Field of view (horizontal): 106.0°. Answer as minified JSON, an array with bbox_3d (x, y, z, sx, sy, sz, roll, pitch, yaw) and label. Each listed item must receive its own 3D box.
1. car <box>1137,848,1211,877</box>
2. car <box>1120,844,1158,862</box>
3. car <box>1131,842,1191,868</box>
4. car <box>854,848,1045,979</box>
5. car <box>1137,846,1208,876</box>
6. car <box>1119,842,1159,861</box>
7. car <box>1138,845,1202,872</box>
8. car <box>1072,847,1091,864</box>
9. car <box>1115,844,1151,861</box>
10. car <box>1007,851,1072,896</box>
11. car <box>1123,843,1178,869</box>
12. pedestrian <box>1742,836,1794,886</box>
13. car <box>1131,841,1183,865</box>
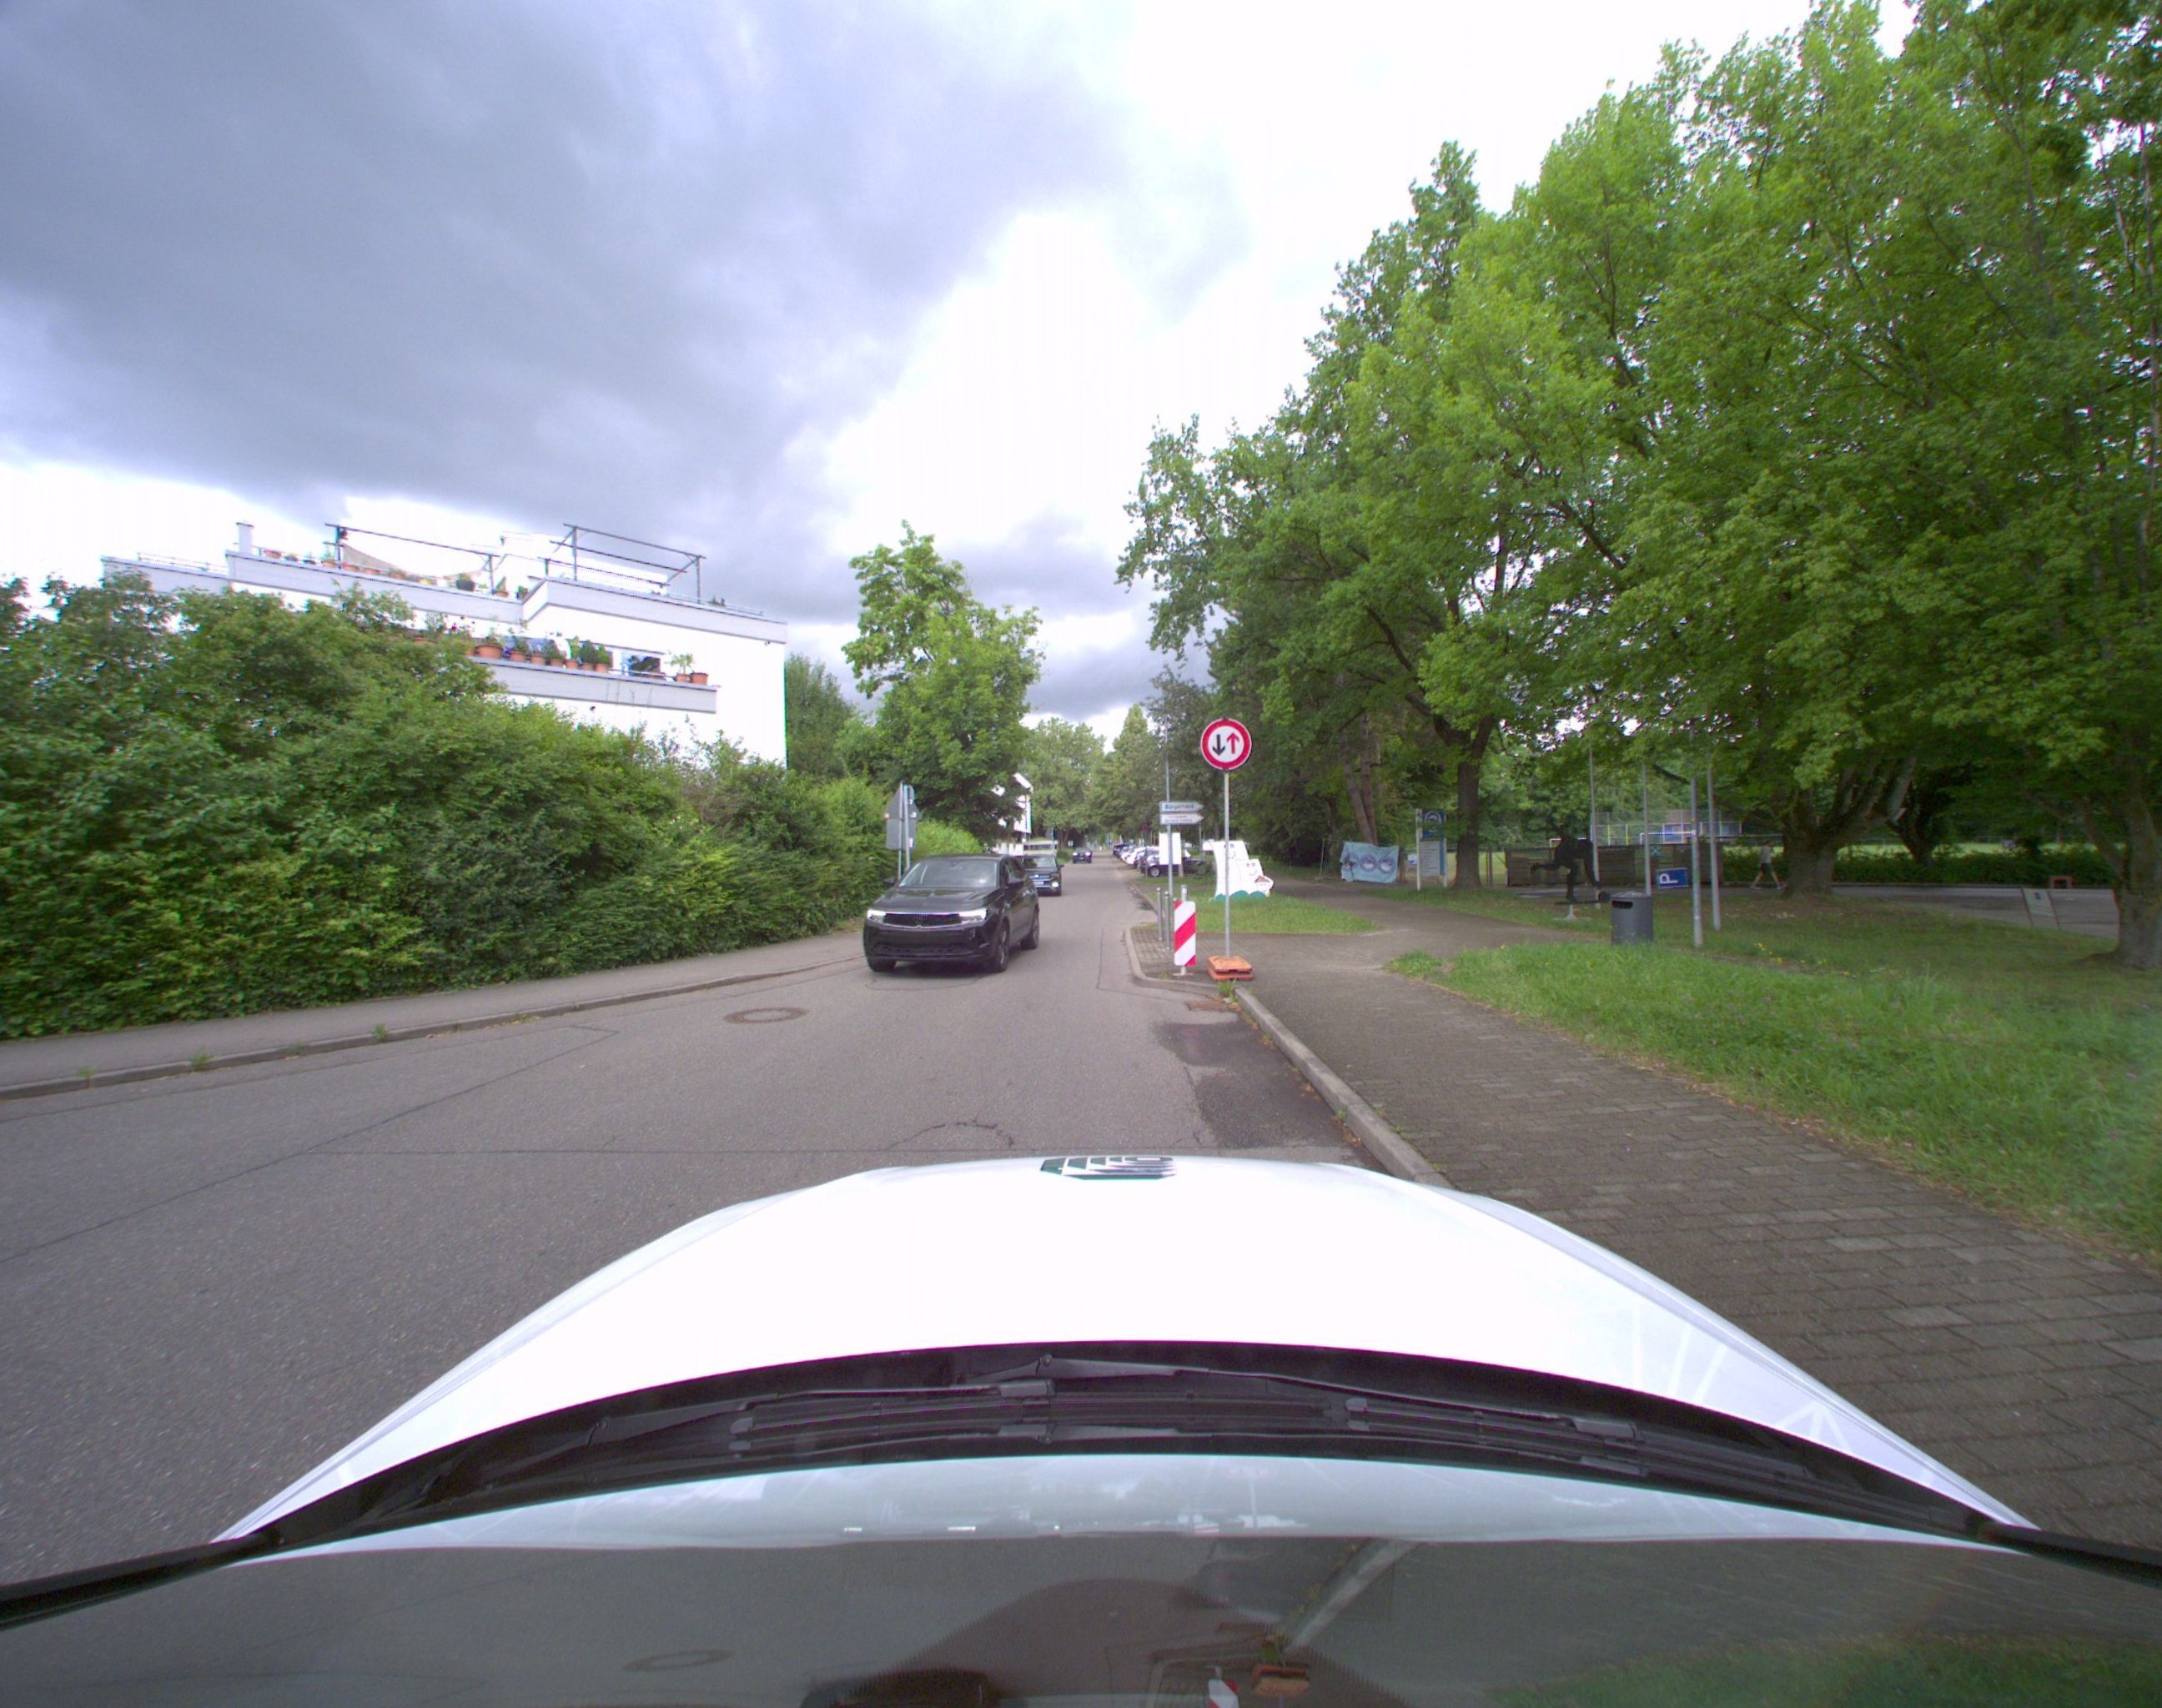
[{"bbox_3d":[5.304,0.495,46.834,4.049,1.434,2.000,-3,-2,0],"label":"car"},{"bbox_3d":[6.691,-0.081,94.006,4.053,1.687,1.821,-5,0,-2],"label":"car"},{"bbox_3d":[5.826,0.079,59.355,4.053,1.488,1.821,-5,0,-2],"label":"car"},{"bbox_3d":[-1.738,0.733,12.235,1.794,1.591,4.302,-1,0,5],"label":"car"},{"bbox_3d":[5.514,0.453,49.233,4.049,1.568,1.822,-3,-2,0],"label":"car"},{"bbox_3d":[6.245,-0.242,88.186,4.053,1.687,1.821,-5,0,-2],"label":"car"},{"bbox_3d":[5.928,0.262,54.381,4.049,1.568,1.823,-3,0,0],"label":"car"},{"bbox_3d":[0.065,0.154,89.642,1.962,1.747,4.338,-1,0,1],"label":"car"},{"bbox_3d":[6.313,-0.232,98.914,4.053,1.687,1.821,-5,0,-2],"label":"car"},{"bbox_3d":[-1.493,0.682,31.071,1.794,1.591,4.303,-1,0,6],"label":"car"},{"bbox_3d":[5.512,0.124,64.646,4.053,1.687,1.821,-5,0,-2],"label":"car"},{"bbox_3d":[24.084,0.245,28.567,1.137,1.674,0.798,-4,-2,27],"label":"pedestrian"},{"bbox_3d":[6.362,-0.096,68.553,4.053,1.687,1.821,-5,0,-2],"label":"car"}]
